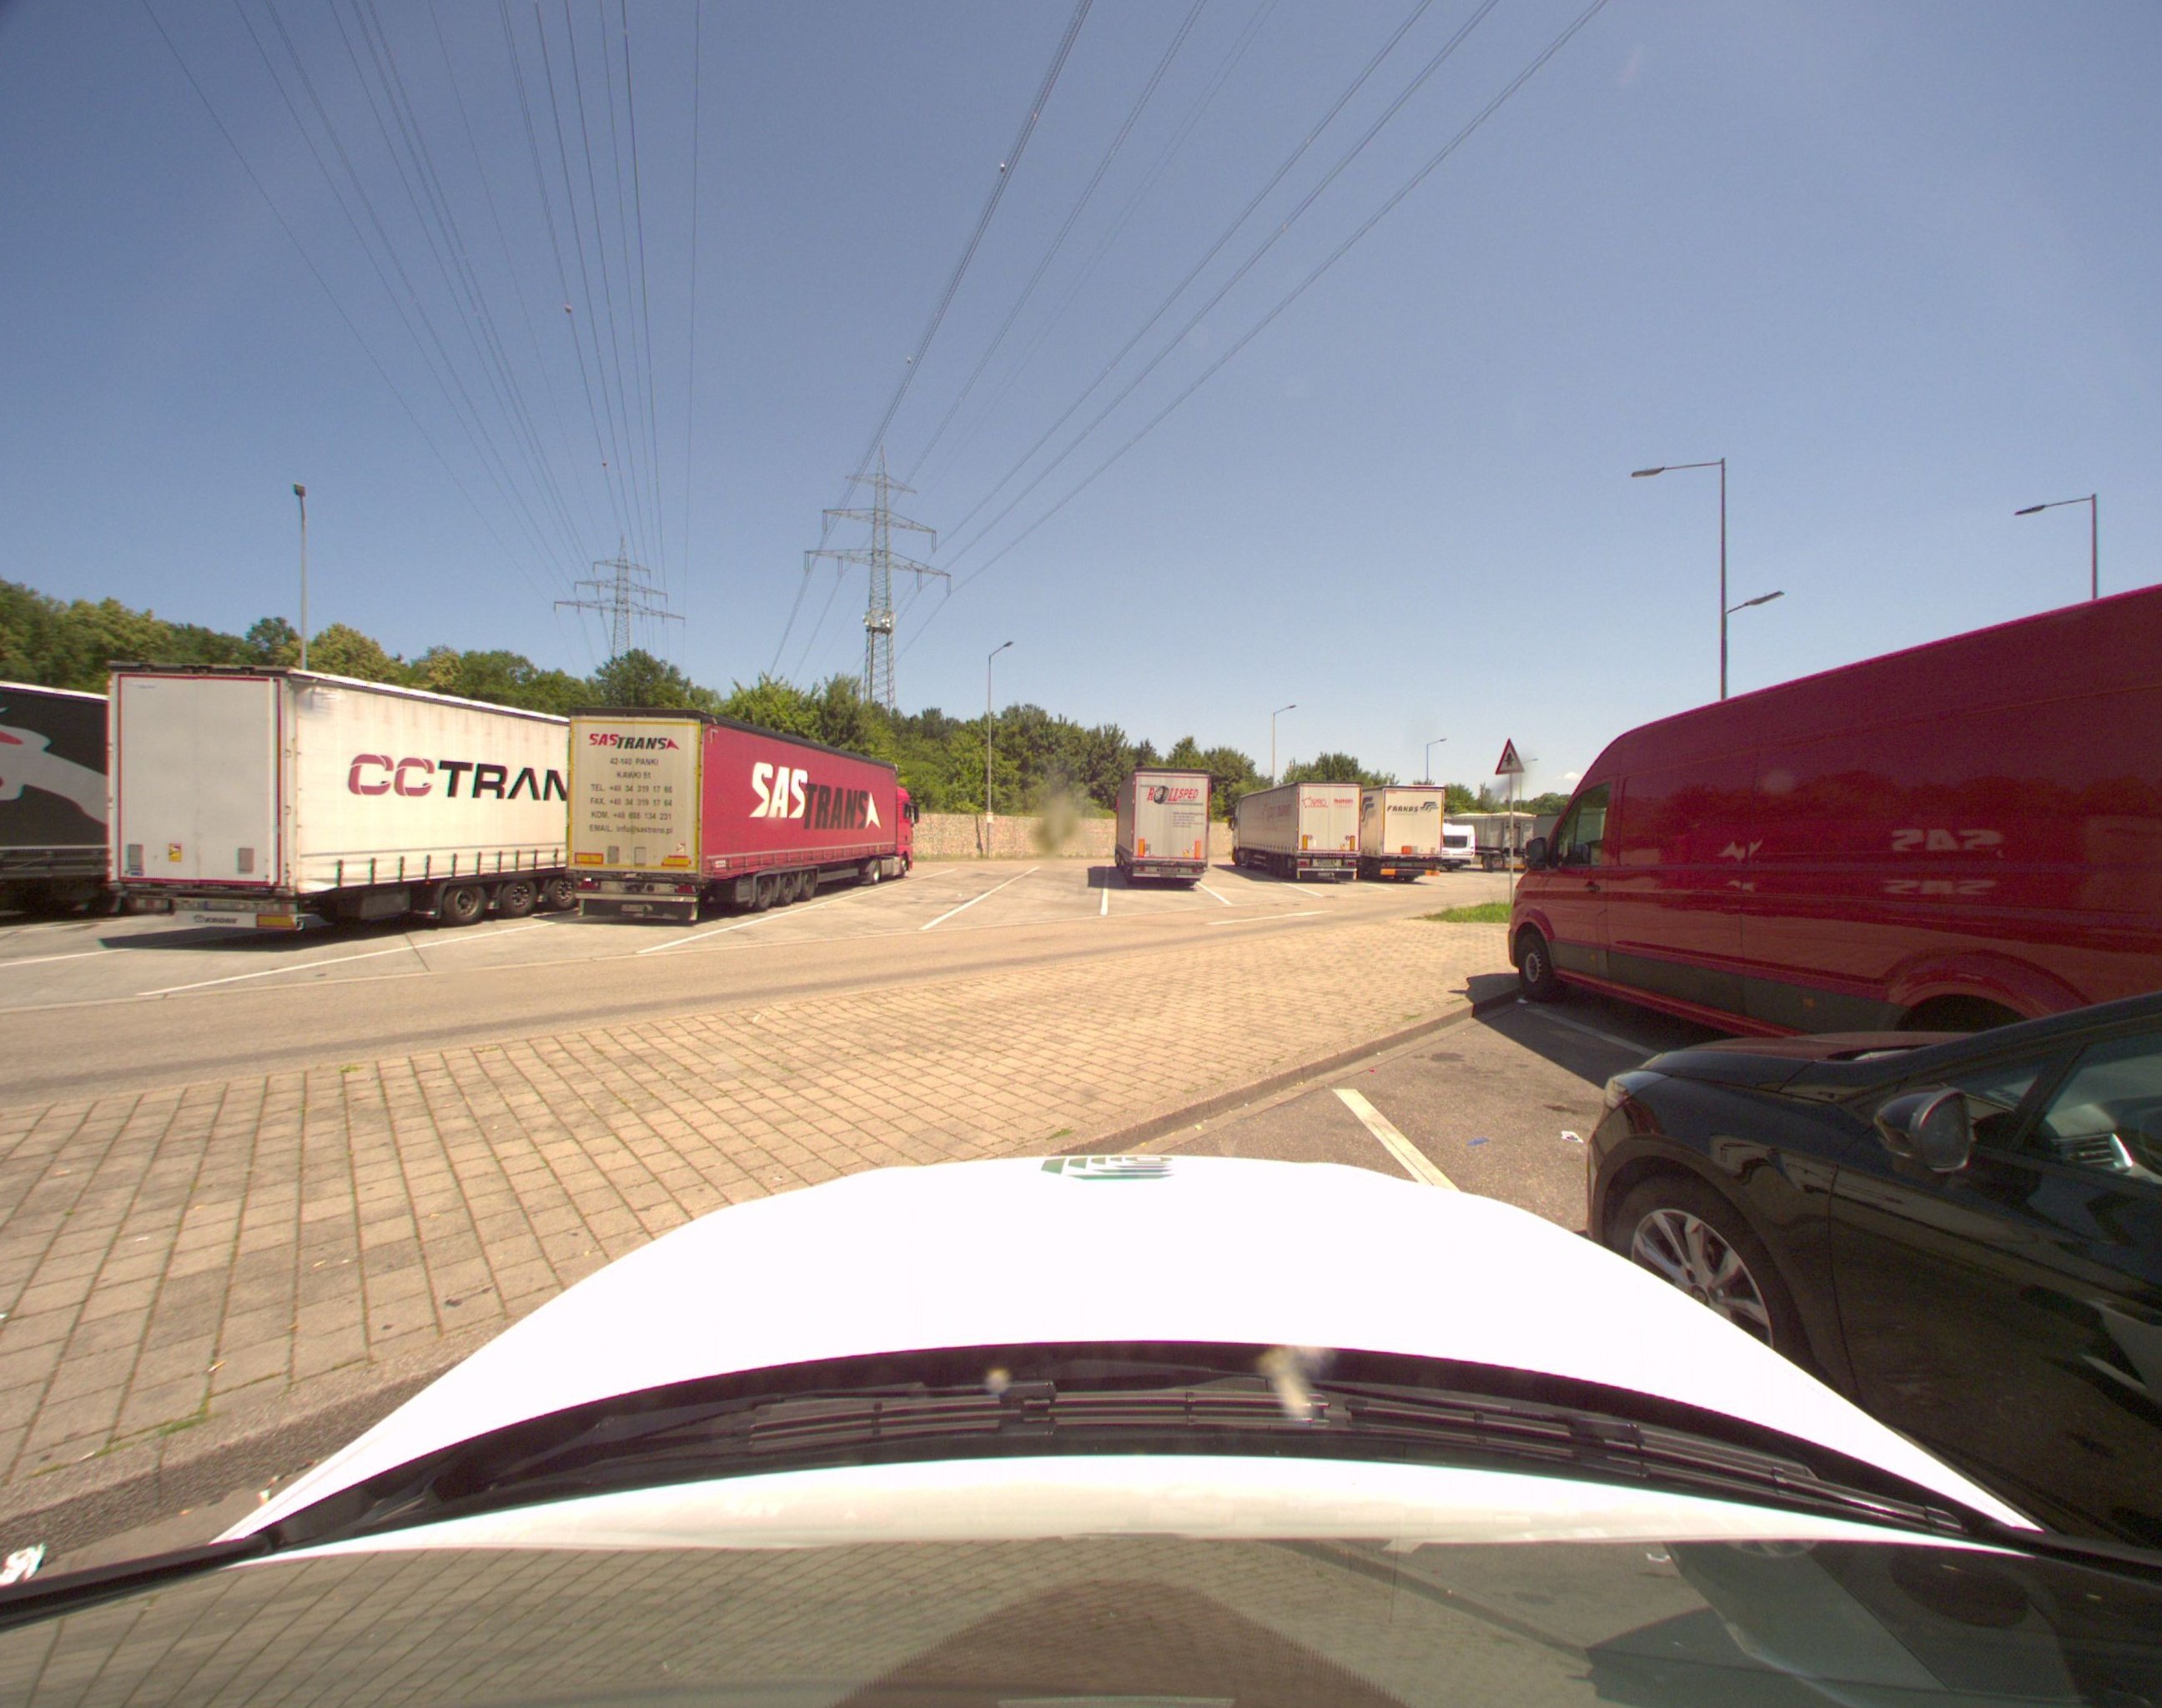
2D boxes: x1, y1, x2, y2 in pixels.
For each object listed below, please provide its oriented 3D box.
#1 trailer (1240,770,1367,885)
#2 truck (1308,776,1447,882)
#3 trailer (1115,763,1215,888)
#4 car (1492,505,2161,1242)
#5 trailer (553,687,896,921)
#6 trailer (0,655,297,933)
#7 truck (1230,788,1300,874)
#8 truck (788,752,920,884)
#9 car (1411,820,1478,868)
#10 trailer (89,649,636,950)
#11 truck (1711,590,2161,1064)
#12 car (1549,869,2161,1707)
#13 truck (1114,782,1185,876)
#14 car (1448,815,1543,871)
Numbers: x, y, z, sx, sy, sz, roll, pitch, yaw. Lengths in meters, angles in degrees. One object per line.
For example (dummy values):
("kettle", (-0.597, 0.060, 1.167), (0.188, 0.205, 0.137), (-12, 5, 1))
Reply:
("trailer", (9.890, -1.119, 38.038), (2.672, 4.452, 12.833), (-1, 1, 1))
("truck", (13.522, -0.948, 38.566), (2.577, 4.226, 11.974), (0, -1, 2))
("trailer", (2.962, -1.008, 32.129), (2.887, 4.013, 11.318), (-1, 1, 1))
("car", (5.113, 0.025, 5.509), (1.984, 2.633, 6.393), (-1, 1, 5))
("trailer", (-8.010, -1.002, 21.457), (2.789, 4.219, 13.208), (-1, 1, 2))
("trailer", (-18.563, -0.962, 14.728), (2.668, 4.445, 6.151), (-1, 0, 2))
("truck", (10.062, -1.239, 45.098), (2.651, 4.452, 5.866), (-1, 1, 2))
("truck", (-7.761, -1.173, 28.713), (2.795, 4.133, 5.896), (-1, 1, 2))
("car", (20.526, -0.527, 46.136), (2.107, 2.599, 4.001), (0, -1, 2))
("trailer", (-12.194, -0.813, 15.397), (2.744, 4.152, 8.291), (0, 1, 2))
("truck", (7.794, -0.157, 6.152), (2.508, 2.827, 4.821), (0, -1, 3))
("car", (2.554, 0.771, 0.937), (1.772, 1.457, 3.681), (0, -1, -3))
("truck", (3.043, -1.096, 37.848), (2.861, 3.980, 6.030), (-1, 1, 1))
("car", (24.125, -0.654, 47.759), (2.490, 3.074, 6.353), (-1, 1, 2))
